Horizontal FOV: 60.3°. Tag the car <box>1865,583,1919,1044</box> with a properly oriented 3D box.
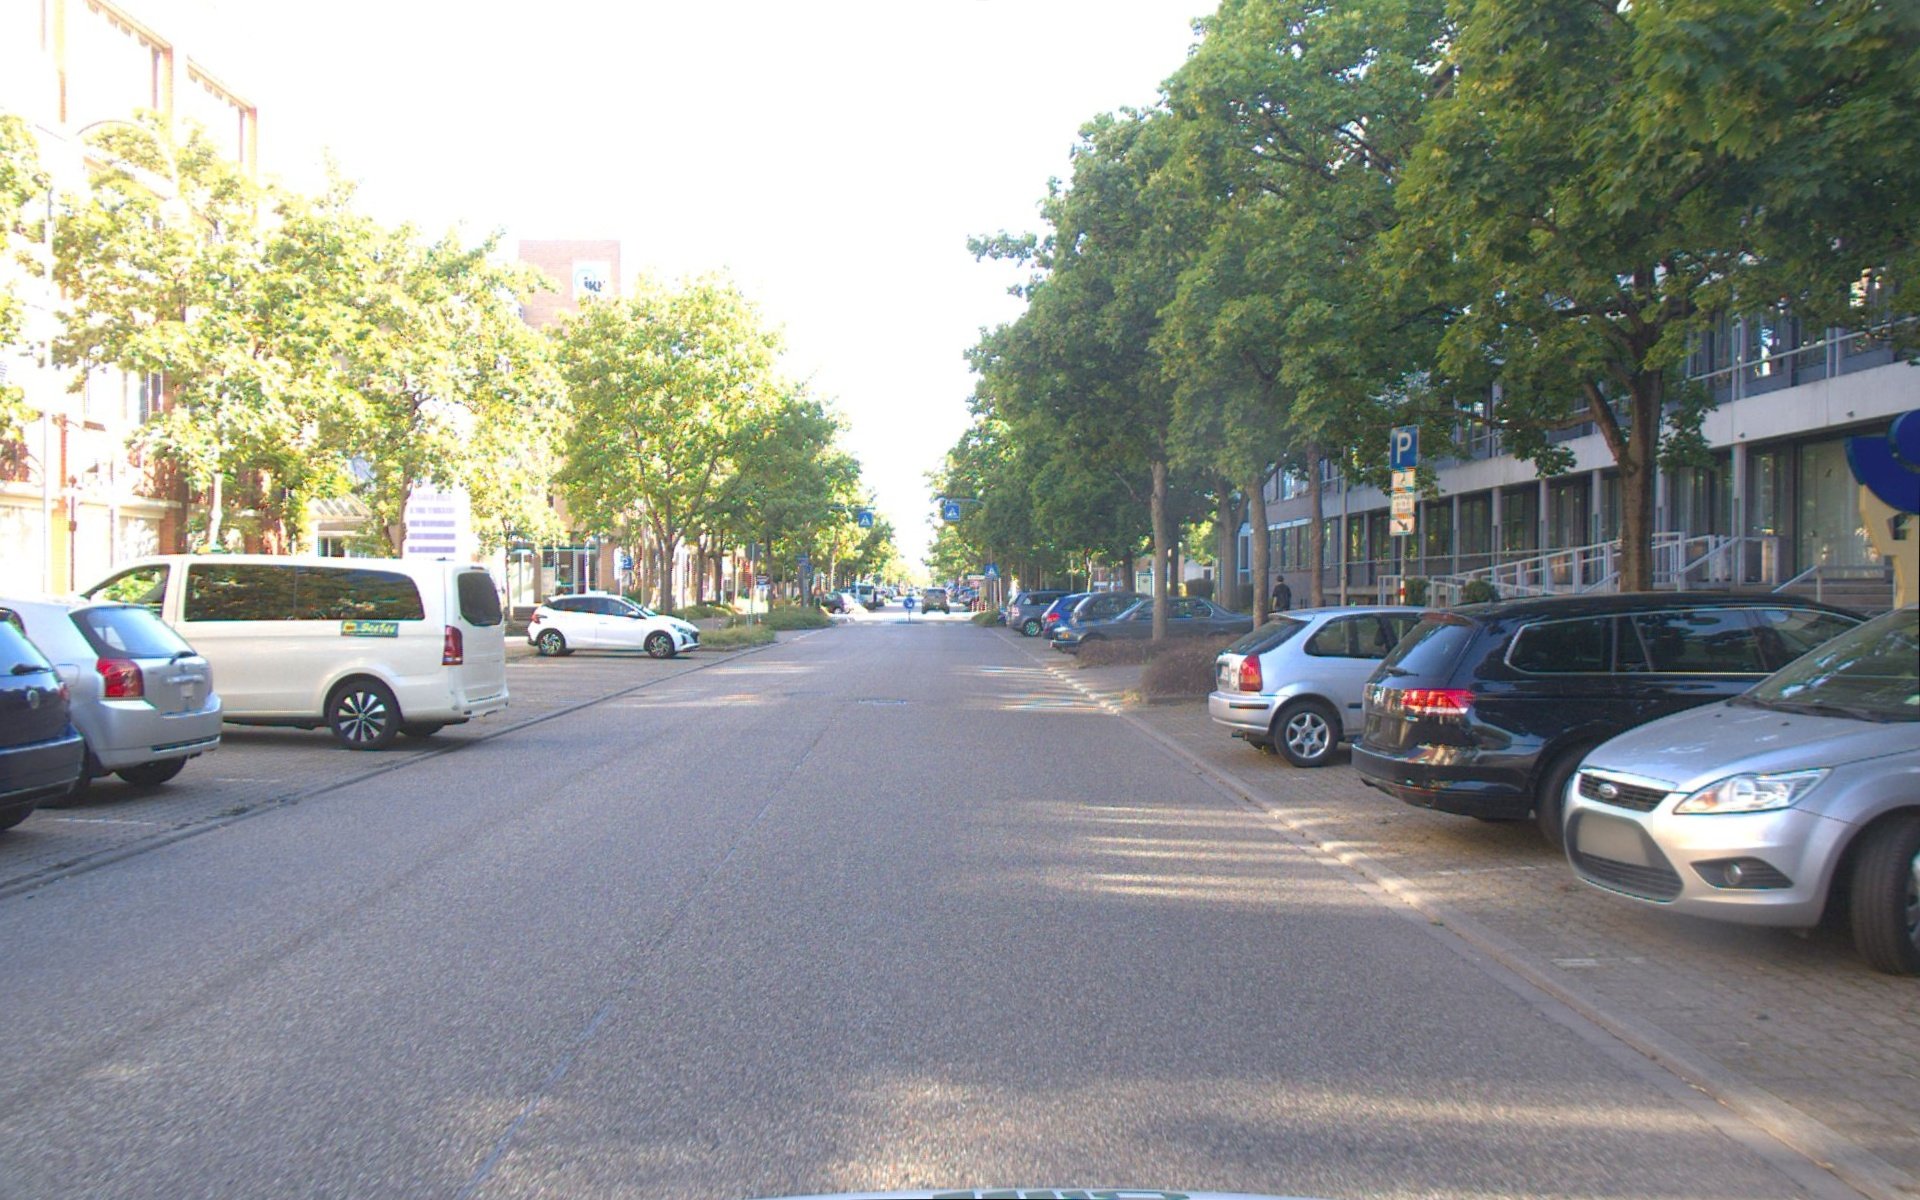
[{"bbox_3d":[5.021,0.646,5.055,3.671,1.519,1.615,-2,0,-6],"label":"car"}]

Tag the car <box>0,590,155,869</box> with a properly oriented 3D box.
[{"bbox_3d":[-7.338,0.659,9.705,4.231,1.503,1.943,2,0,1],"label":"car"}]

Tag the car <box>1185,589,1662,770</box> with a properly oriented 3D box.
[{"bbox_3d":[4.187,0.687,15.320,3.890,1.444,1.709,-2,0,-3],"label":"car"}]

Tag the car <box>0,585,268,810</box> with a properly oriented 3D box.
[{"bbox_3d":[-7.744,0.637,12.416,4.231,1.503,1.943,2,0,1],"label":"car"}]

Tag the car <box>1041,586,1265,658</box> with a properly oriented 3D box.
[{"bbox_3d":[4.290,0.478,37.337,4.729,1.444,2.031,-2,0,-3],"label":"car"}]

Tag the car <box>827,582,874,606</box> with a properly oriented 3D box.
[{"bbox_3d":[-9.539,-0.542,144.630,3.903,2.049,2.001,-1,0,3],"label":"car"}]

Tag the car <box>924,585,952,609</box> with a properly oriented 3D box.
[{"bbox_3d":[-1.632,-0.248,120.340,1.953,1.668,3.999,2,0,-1],"label":"car"}]

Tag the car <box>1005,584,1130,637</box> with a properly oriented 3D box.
[{"bbox_3d":[3.860,0.355,59.924,4.265,1.733,1.811,-2,1,-4],"label":"car"}]

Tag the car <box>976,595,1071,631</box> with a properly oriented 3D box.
[{"bbox_3d":[2.868,0.578,75.381,4.108,1.499,1.811,-2,0,-4],"label":"car"}]

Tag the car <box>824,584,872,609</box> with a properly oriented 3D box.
[{"bbox_3d":[-9.565,-0.281,141.458,3.903,2.049,2.001,-1,0,3],"label":"car"}]

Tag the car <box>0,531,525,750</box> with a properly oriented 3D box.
[{"bbox_3d":[-7.339,0.387,17.041,5.151,2.001,1.942,2,0,-1],"label":"car"}]

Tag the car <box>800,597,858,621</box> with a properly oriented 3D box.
[{"bbox_3d":[-9.053,0.617,114.232,3.779,1.499,1.808,2,0,-10],"label":"car"}]

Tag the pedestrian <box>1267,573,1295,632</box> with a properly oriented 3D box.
[{"bbox_3d":[9.699,0.070,49.990,0.595,1.776,1.191,-1,0,-1],"label":"pedestrian"}]

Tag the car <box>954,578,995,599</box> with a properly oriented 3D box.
[{"bbox_3d":[1.447,-1.103,163.110,3.907,2.049,1.999,0,0,-3],"label":"car"}]

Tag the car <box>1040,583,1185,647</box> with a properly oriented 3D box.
[{"bbox_3d":[3.951,0.380,43.290,3.567,1.541,1.812,-2,0,-1],"label":"car"}]

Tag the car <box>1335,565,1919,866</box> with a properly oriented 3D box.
[{"bbox_3d":[4.770,0.607,10.121,4.498,1.519,1.762,-3,0,-1],"label":"car"}]

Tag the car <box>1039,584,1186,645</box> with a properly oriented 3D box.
[{"bbox_3d":[4.184,0.386,45.795,3.868,1.541,1.813,-2,0,0],"label":"car"}]

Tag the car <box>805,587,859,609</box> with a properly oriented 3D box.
[{"bbox_3d":[-9.268,-0.143,119.307,3.775,1.499,1.810,2,0,-7],"label":"car"}]

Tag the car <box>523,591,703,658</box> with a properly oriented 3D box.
[{"bbox_3d":[-8.193,0.566,39.337,3.907,1.512,1.806,1,0,-2],"label":"car"}]

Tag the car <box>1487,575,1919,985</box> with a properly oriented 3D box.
[{"bbox_3d":[4.773,0.640,7.347,4.198,1.519,2.004,-2,0,-1],"label":"car"}]

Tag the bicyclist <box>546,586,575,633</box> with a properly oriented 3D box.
[{"bbox_3d":[-11.838,0.280,49.044,0.593,1.377,0.913,0,0,3],"label":"bicyclist"}]
